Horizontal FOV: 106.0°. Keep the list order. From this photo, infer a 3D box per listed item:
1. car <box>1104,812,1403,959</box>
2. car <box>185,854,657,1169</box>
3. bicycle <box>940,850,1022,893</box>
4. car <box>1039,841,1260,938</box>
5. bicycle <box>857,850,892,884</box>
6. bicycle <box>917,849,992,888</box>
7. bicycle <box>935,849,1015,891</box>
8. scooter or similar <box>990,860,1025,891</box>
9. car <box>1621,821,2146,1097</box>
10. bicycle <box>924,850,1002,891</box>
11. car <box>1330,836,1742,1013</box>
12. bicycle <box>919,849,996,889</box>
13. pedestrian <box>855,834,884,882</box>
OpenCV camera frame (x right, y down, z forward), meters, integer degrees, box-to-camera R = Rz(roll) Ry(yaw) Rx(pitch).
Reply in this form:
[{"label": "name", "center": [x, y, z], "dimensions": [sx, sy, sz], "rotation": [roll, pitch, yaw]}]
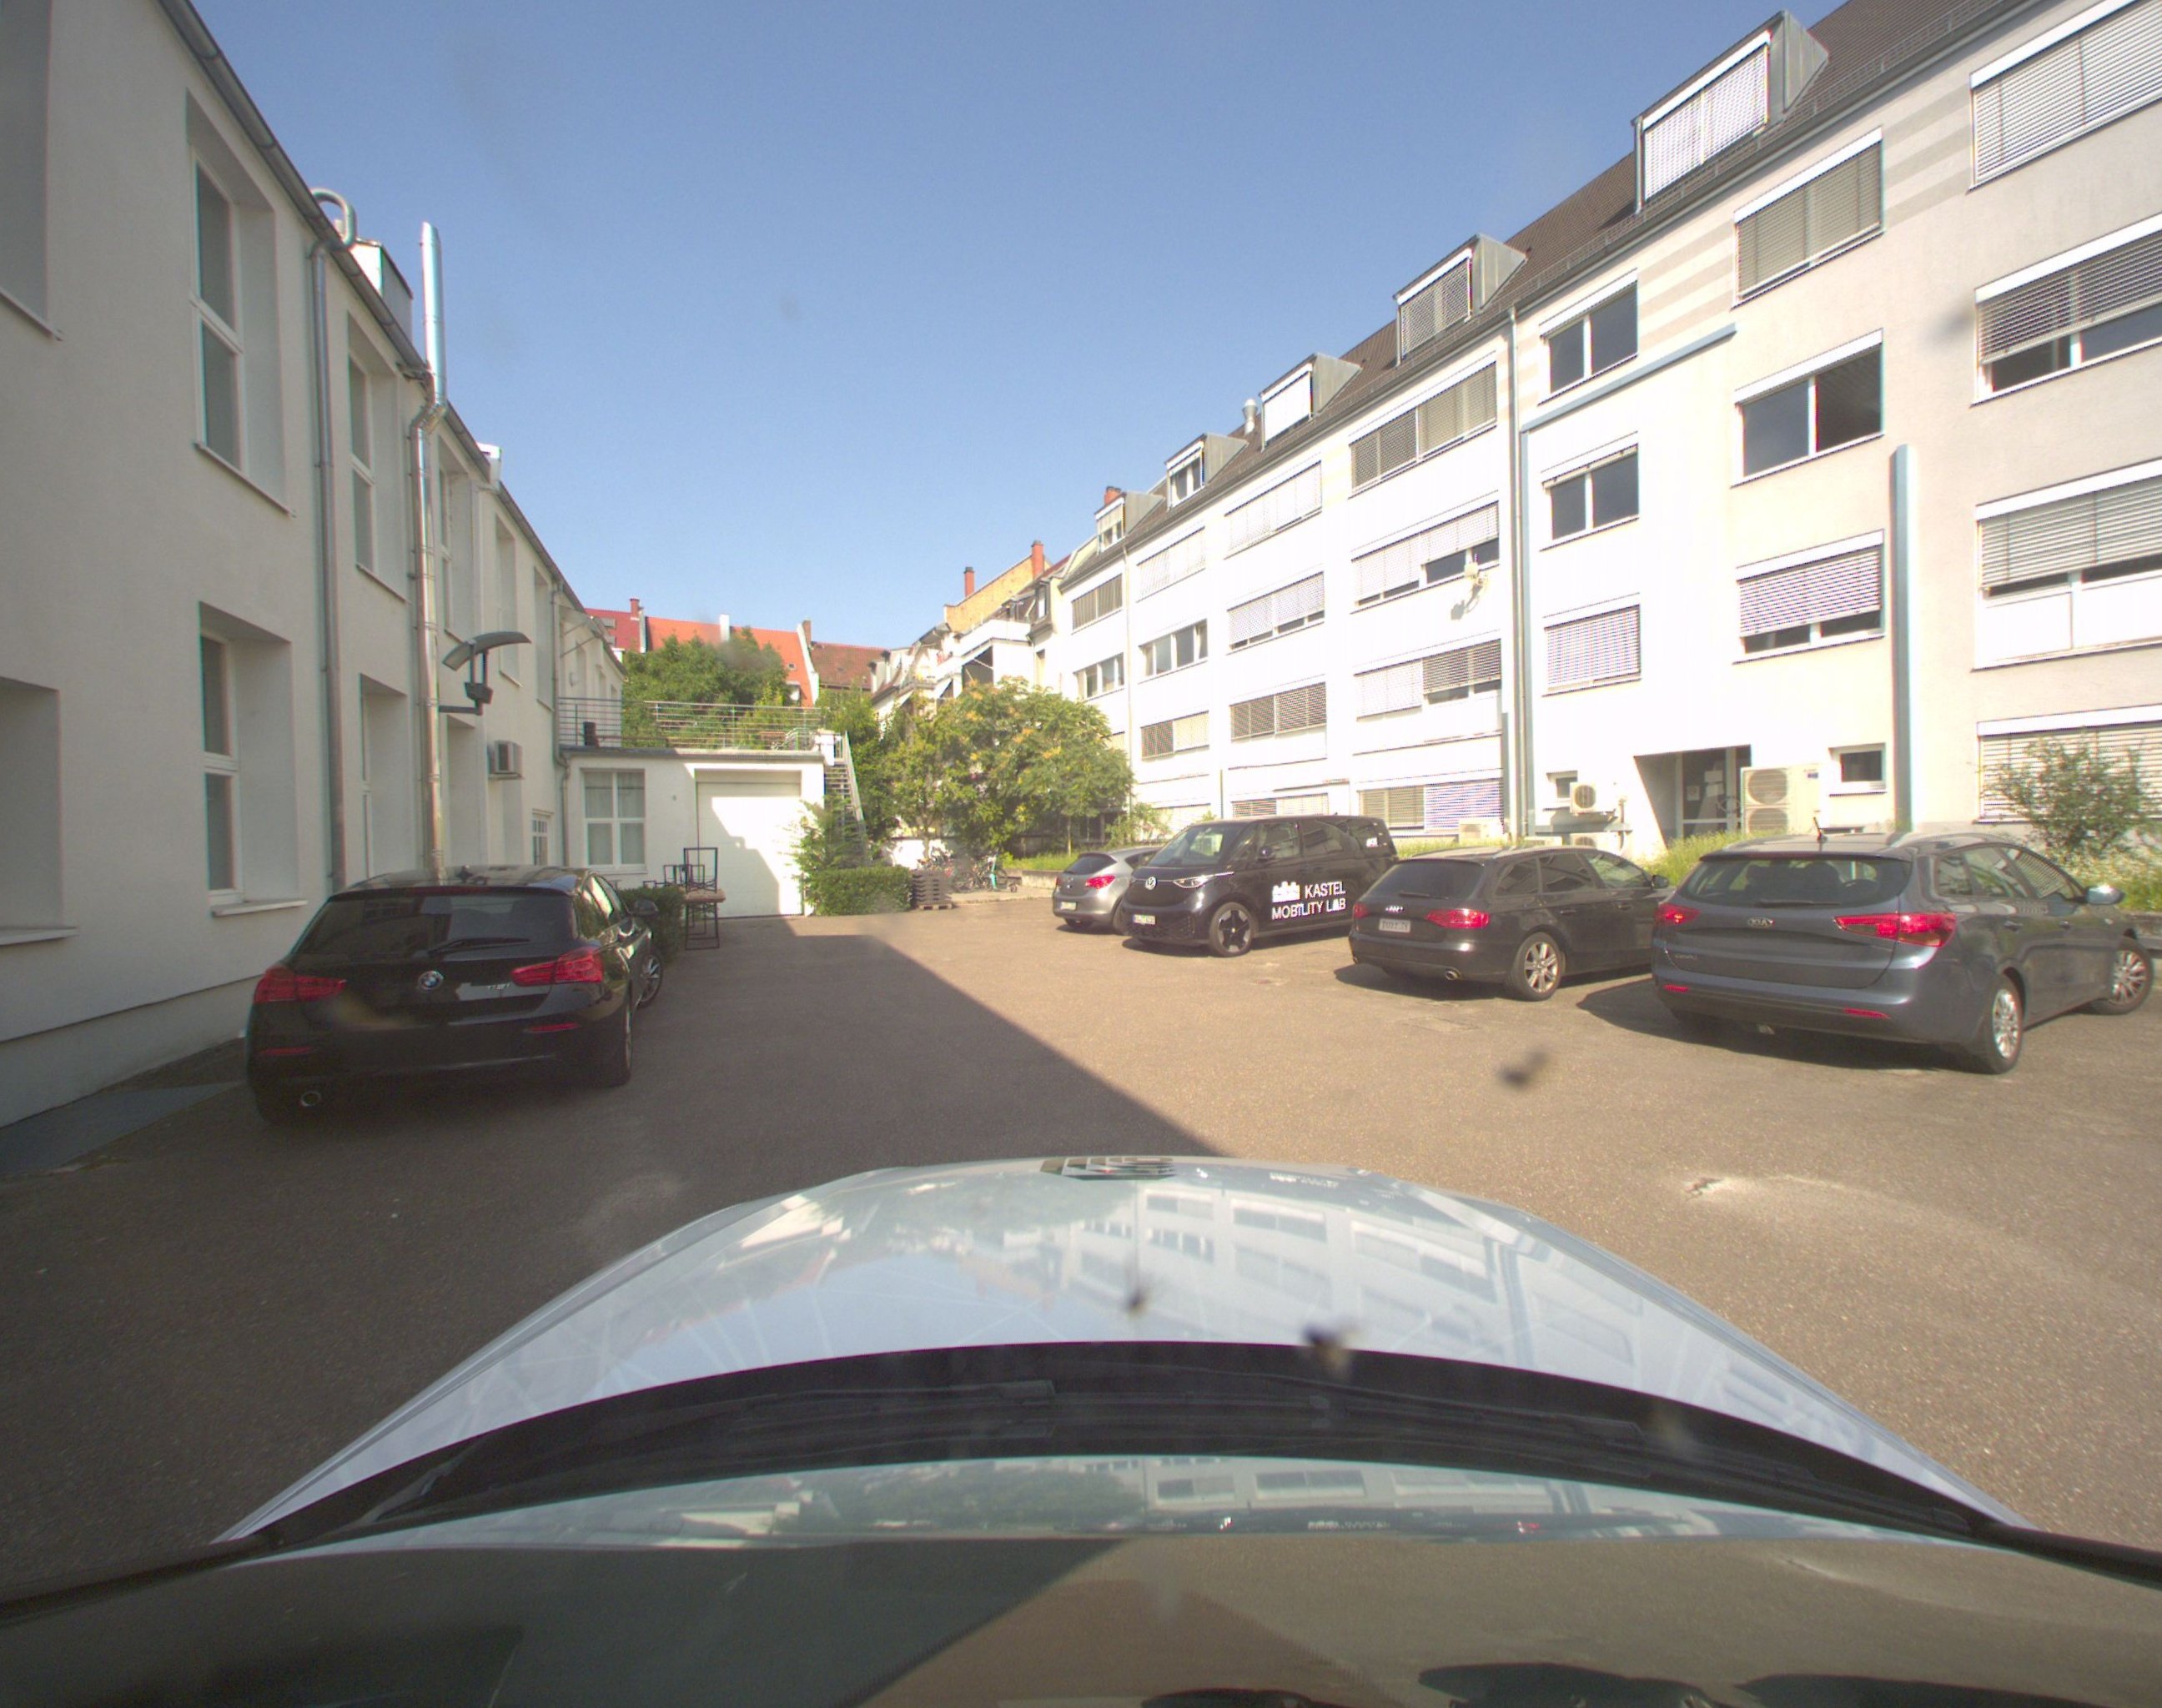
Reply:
[{"label": "car", "center": [2.701, 0.332, 12.392], "dimensions": [4.365, 1.858, 1.895], "rotation": [-2, 1, -33]}, {"label": "car", "center": [-4.273, 0.741, 6.078], "dimensions": [1.802, 1.428, 4.101], "rotation": [-1, 1, -26]}, {"label": "bicycle", "center": [-3.005, 0.518, 24.587], "dimensions": [2.421, 1.246, 0.522], "rotation": [-1, 0, -24]}, {"label": "car", "center": [1.330, 0.551, 14.945], "dimensions": [3.927, 1.466, 1.644], "rotation": [-2, 1, -37]}, {"label": "bicycle", "center": [-7.759, 0.471, 30.661], "dimensions": [0.485, 1.143, 1.999], "rotation": [-1, 2, 9]}, {"label": "bicycle", "center": [-4.209, 0.457, 27.099], "dimensions": [2.421, 1.246, 0.522], "rotation": [-1, 0, -24]}, {"label": "bicycle", "center": [-3.262, 0.471, 25.208], "dimensions": [2.421, 1.246, 0.522], "rotation": [-1, 0, -24]}, {"label": "scooter or similar", "center": [-2.218, 0.633, 24.519], "dimensions": [0.987, 0.924, 0.362], "rotation": [0, 0, 29]}, {"label": "car", "center": [6.195, 0.533, 6.219], "dimensions": [4.070, 1.478, 1.727], "rotation": [-2, 1, -28]}, {"label": "bicycle", "center": [-3.737, 0.494, 25.915], "dimensions": [2.421, 1.246, 0.522], "rotation": [-1, 0, -24]}, {"label": "car", "center": [4.885, 0.580, 8.675], "dimensions": [4.254, 1.437, 1.677], "rotation": [-2, 1, -25]}, {"label": "bicycle", "center": [-3.998, 0.485, 26.517], "dimensions": [2.422, 1.246, 0.522], "rotation": [-1, 0, -24]}, {"label": "pedestrian", "center": [-7.941, 0.151, 30.575], "dimensions": [0.853, 1.771, 0.612], "rotation": [0, 0, 8]}]
